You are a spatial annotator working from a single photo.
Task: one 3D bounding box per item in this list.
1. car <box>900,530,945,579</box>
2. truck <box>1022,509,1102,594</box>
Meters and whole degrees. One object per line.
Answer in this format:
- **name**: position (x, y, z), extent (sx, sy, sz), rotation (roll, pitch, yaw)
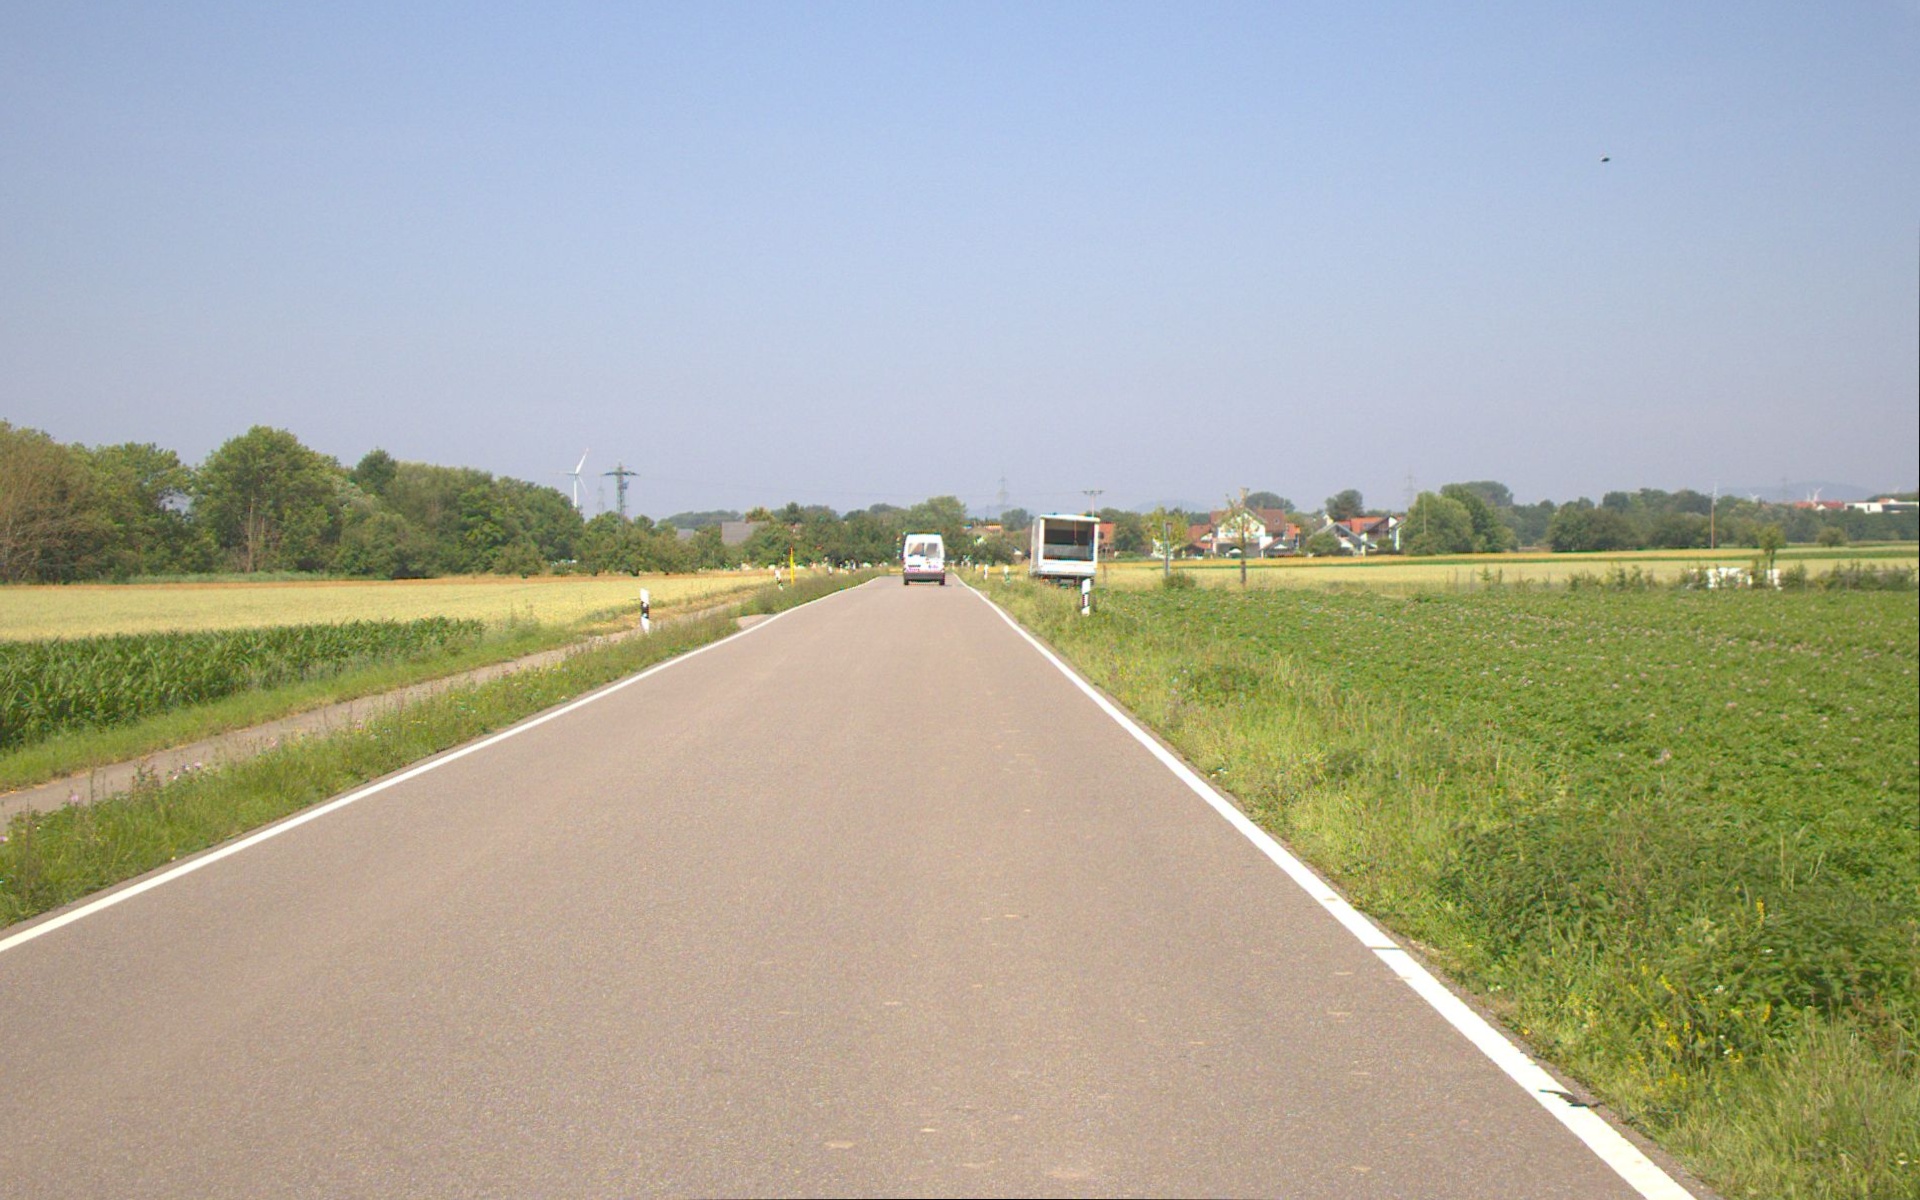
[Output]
- **car**: position (-1.826, -2.218, 167.955), extent (2.107, 2.296, 5.496), rotation (1, 1, -1)
- **truck**: position (3.702, -1.770, 126.355), extent (2.335, 2.932, 7.009), rotation (2, 0, -2)
